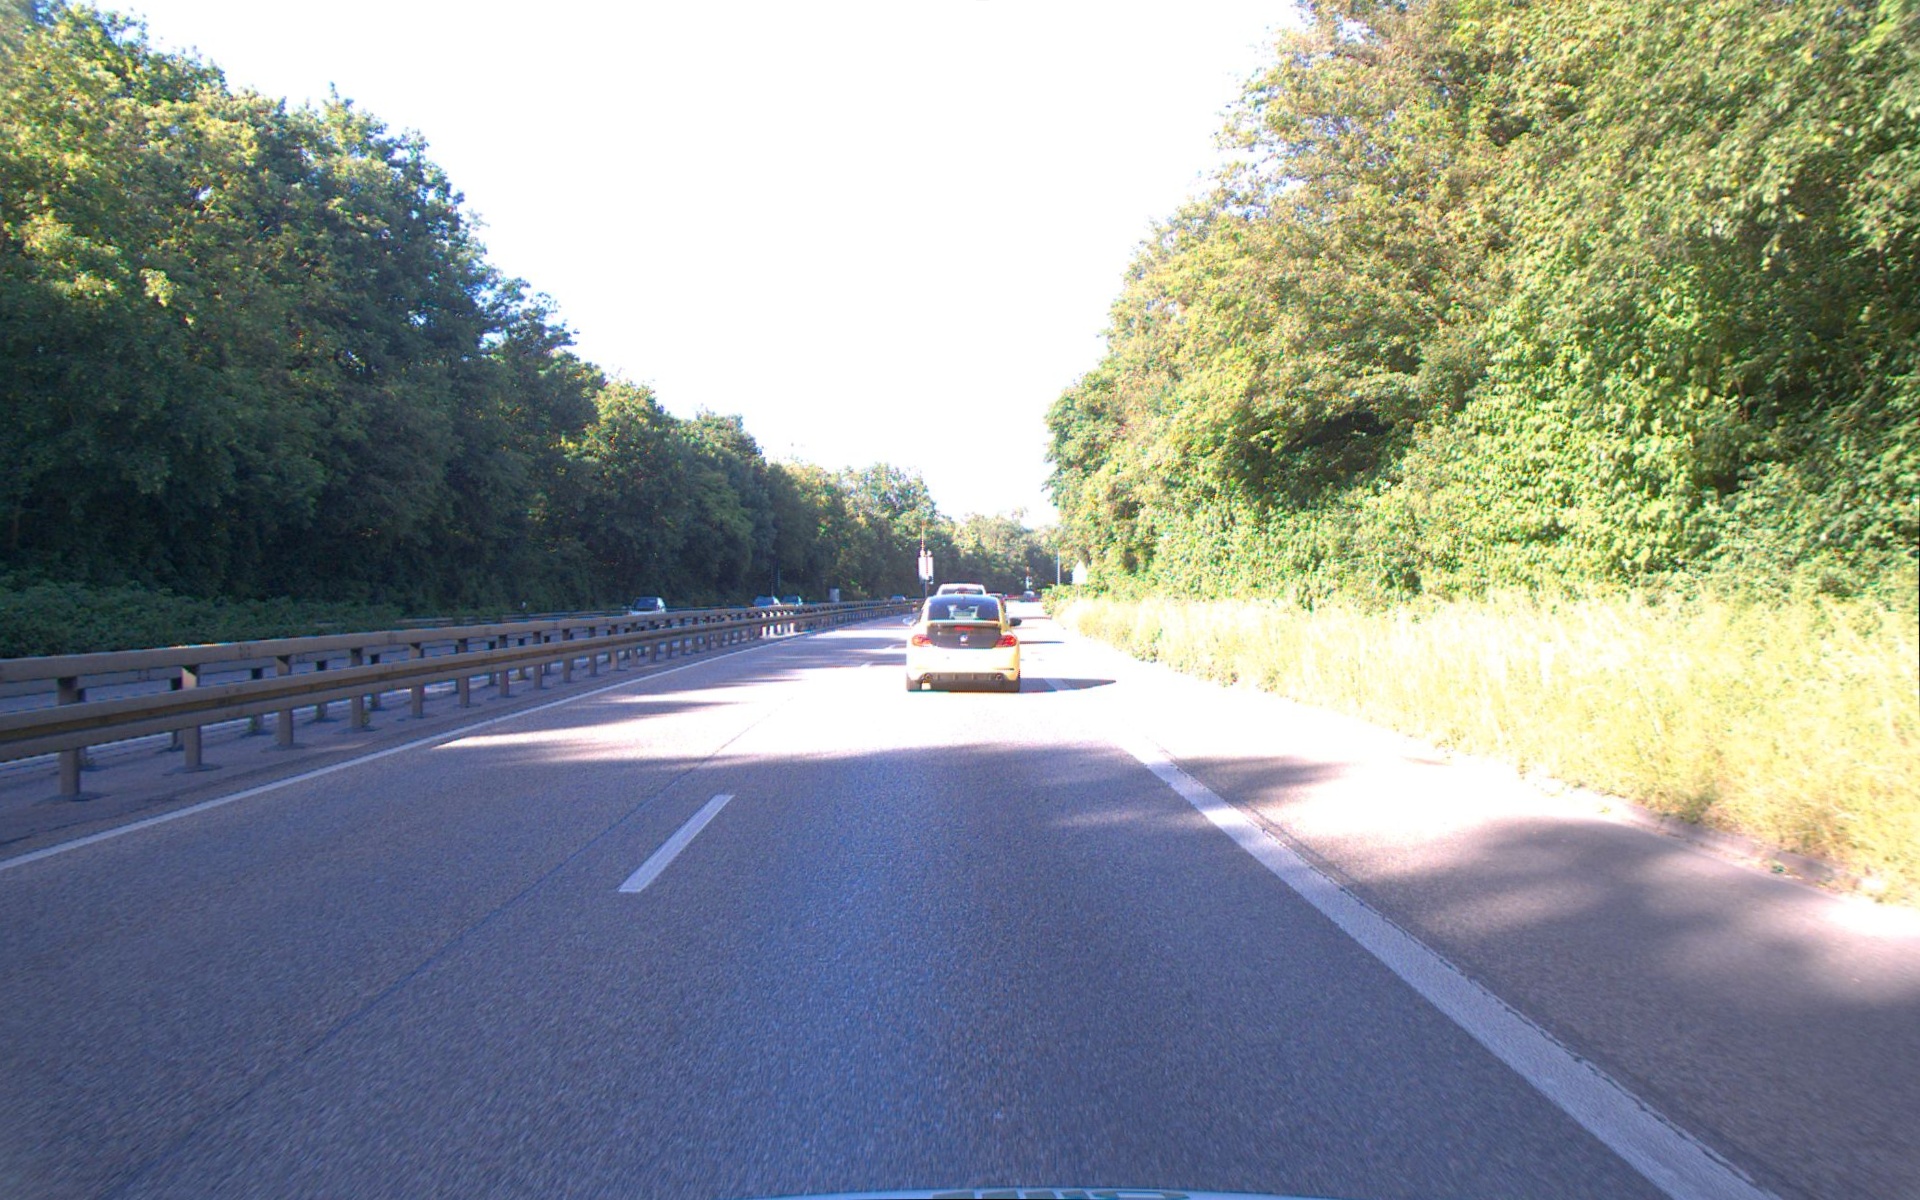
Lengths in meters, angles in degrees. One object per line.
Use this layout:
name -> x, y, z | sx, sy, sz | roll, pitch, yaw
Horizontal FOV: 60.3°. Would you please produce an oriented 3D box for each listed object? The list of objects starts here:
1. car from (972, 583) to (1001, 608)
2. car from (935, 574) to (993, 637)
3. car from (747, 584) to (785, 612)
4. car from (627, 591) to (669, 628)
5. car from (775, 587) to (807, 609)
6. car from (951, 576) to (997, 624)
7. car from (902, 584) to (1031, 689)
car -> 2.055, -0.367, 129.813 | 2.217, 1.908, 5.076 | 1, 0, 0
car -> 0.123, 0.153, 50.829 | 1.706, 1.862, 3.422 | 0, 0, 0
car -> -13.034, -0.162, 111.368 | 1.953, 1.780, 4.551 | -2, 0, 0
car -> -14.770, 0.435, 78.408 | 1.385, 1.648, 2.875 | -1, 0, 0
car -> -12.893, -0.173, 126.638 | 1.953, 1.612, 4.000 | -2, 0, 0
car -> 0.603, -0.003, 75.020 | 1.953, 2.048, 4.000 | -2, 0, 0
car -> 0.129, 0.525, 26.178 | 1.899, 1.534, 3.423 | -1, 0, 1
